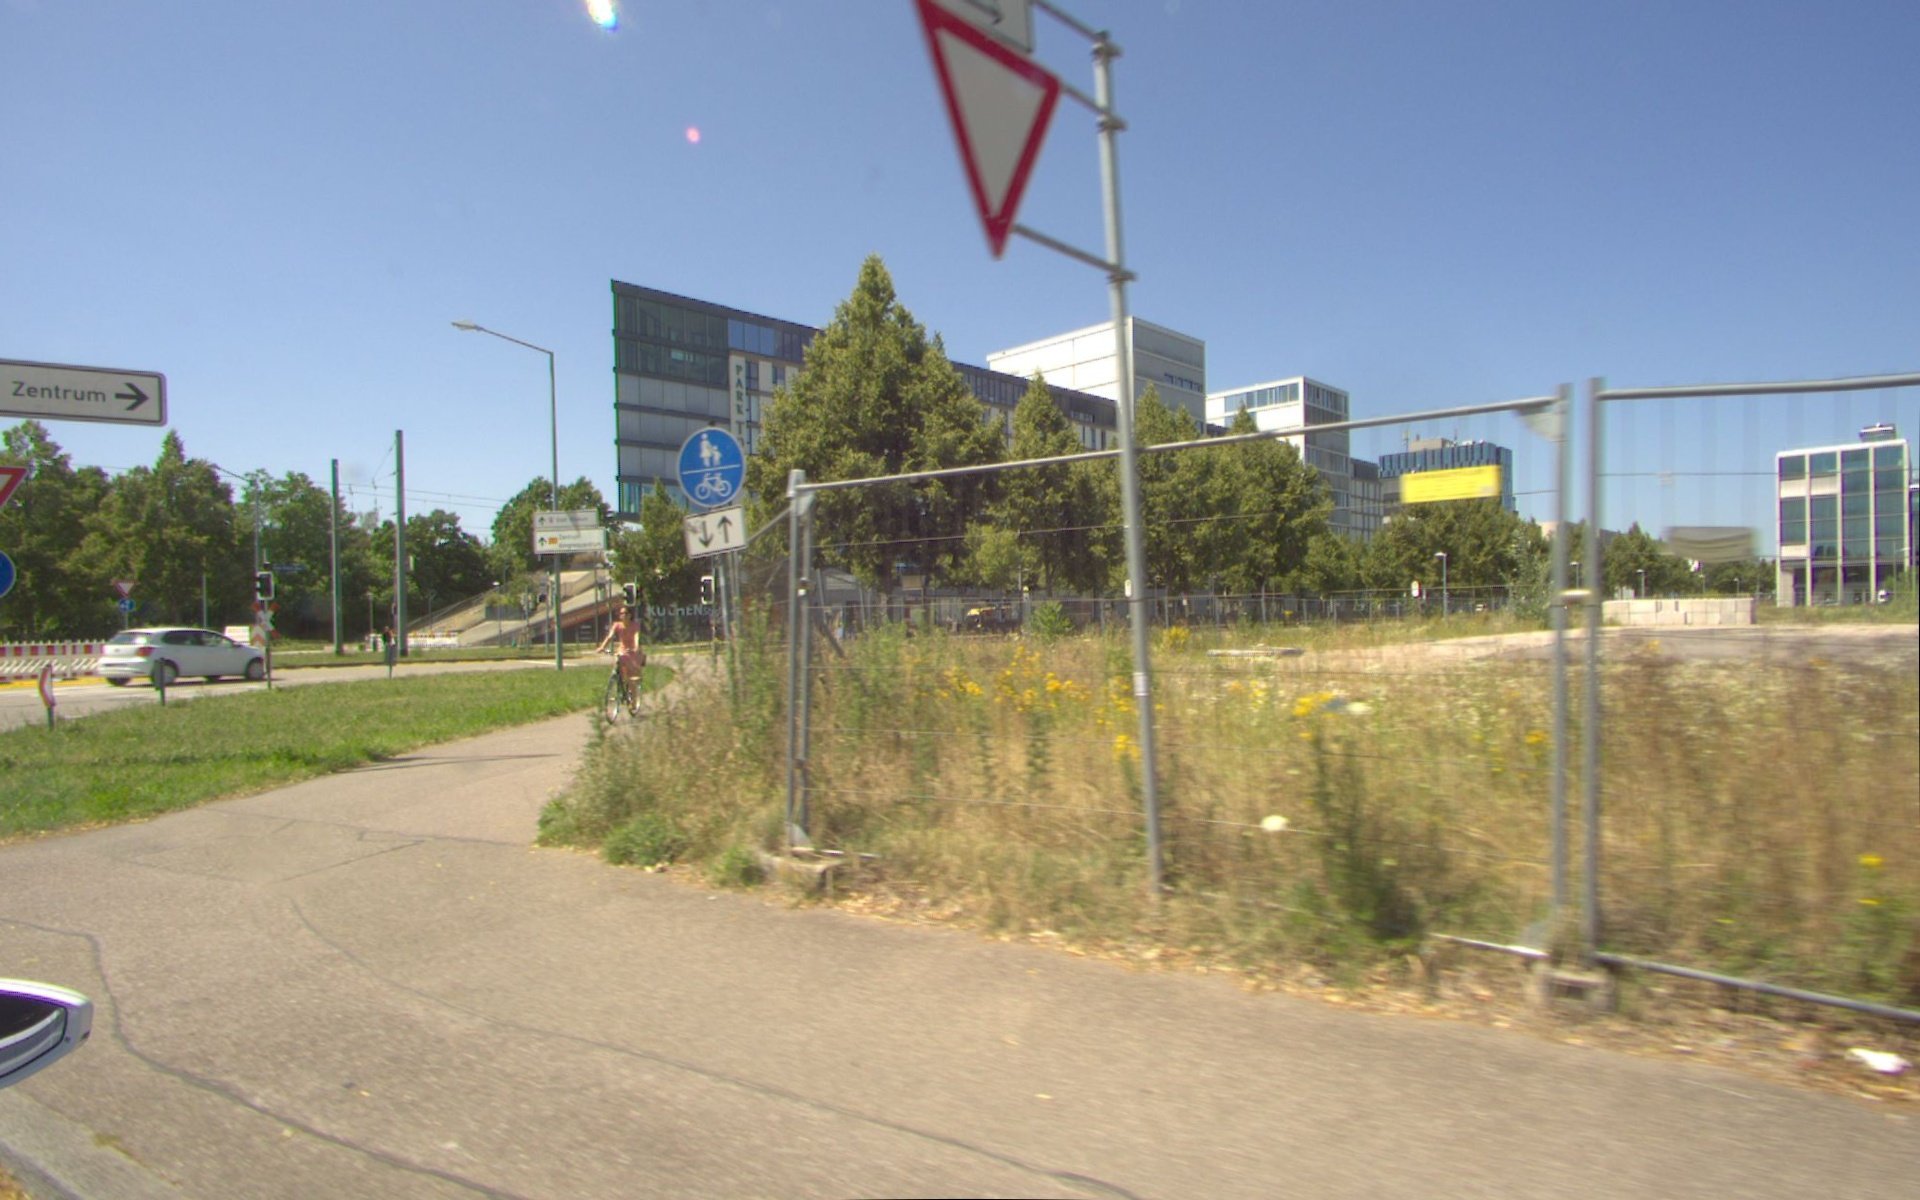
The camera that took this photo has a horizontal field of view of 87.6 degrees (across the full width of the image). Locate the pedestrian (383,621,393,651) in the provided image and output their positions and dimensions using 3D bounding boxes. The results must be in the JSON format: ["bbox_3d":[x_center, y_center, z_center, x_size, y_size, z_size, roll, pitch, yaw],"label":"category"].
[{"bbox_3d":[-33.512,2.109,58.658,0.288,1.761,0.445,0,0,44],"label":"pedestrian"}]

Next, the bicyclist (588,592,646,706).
[{"bbox_3d":[-5.228,0.738,15.294,0.634,1.686,0.710,-2,0,-6],"label":"bicyclist"}]

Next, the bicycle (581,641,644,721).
[{"bbox_3d":[-5.274,1.198,15.299,0.431,1.071,2.088,-1,-1,-6],"label":"bicycle"}]

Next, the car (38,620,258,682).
[{"bbox_3d":[-20.775,1.279,25.899,1.821,1.467,4.352,0,-2,7],"label":"car"}]

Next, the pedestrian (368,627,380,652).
[{"bbox_3d":[-33.520,2.262,57.274,0.348,1.448,0.517,0,0,41],"label":"pedestrian"}]

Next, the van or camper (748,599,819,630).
[{"bbox_3d":[-16.799,1.395,95.634,2.357,2.859,6.730,-1,-1,42],"label":"van or camper"}]
